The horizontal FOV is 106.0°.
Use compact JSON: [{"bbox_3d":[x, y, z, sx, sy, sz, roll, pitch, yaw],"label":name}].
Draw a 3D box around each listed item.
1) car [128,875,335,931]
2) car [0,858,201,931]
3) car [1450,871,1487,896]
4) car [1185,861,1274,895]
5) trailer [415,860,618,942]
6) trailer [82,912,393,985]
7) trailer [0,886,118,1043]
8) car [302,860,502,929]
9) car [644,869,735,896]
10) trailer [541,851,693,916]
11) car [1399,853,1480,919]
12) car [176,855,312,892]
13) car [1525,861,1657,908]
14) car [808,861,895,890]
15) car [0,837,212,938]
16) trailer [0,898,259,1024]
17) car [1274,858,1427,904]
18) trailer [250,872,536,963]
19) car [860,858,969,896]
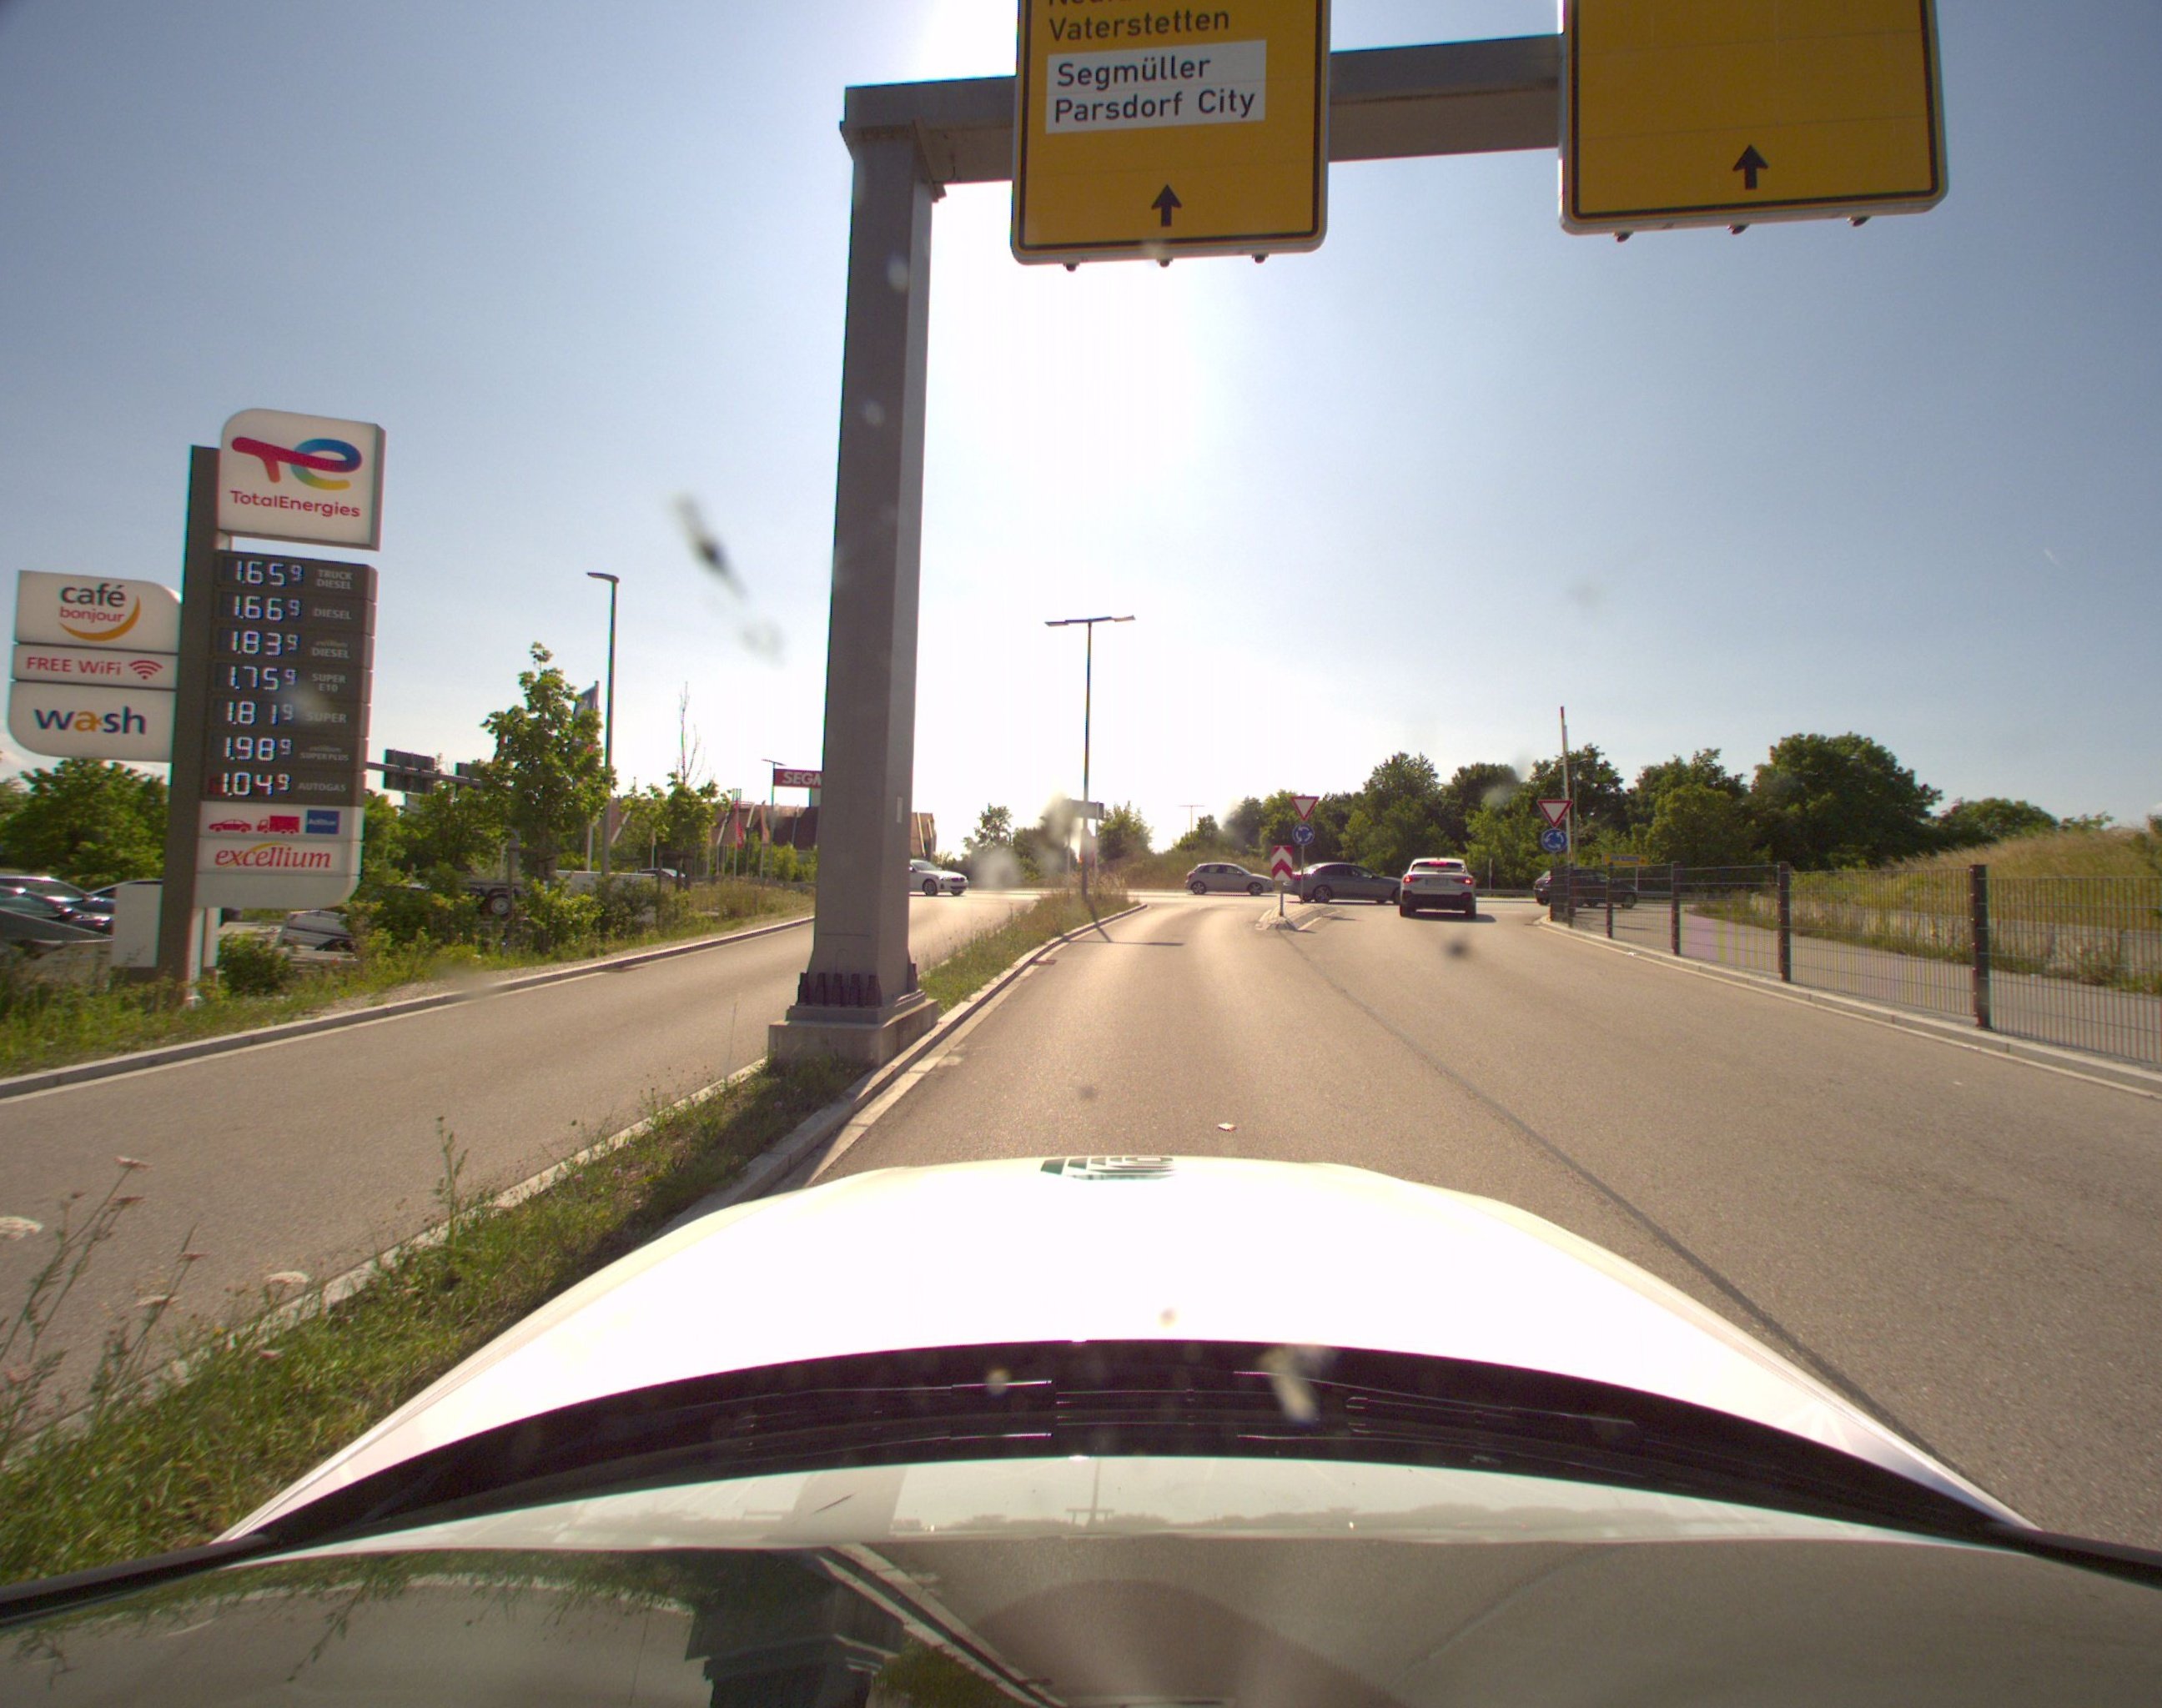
[{"bbox_3d":[-25.350,1.475,24.425,1.802,1.464,4.024,1,-3,37],"label":"car"},{"bbox_3d":[-22.583,0.849,18.016,1.813,1.464,4.001,-1,-1,1],"label":"car"},{"bbox_3d":[23.473,1.762,49.456,1.608,1.405,3.835,1,-1,19],"label":"car"},{"bbox_3d":[6.633,1.044,36.302,3.728,1.352,1.538,1,-1,17],"label":"car"},{"bbox_3d":[-13.185,1.091,19.324,3.706,1.772,1.791,2,-1,-29],"label":"trailer"},{"bbox_3d":[-12.763,1.390,12.594,2.843,0.882,1.850,2,-1,-27],"label":"trailer"},{"bbox_3d":[-12.258,1.071,8.023,3.186,1.484,1.540,2,-1,-16],"label":"trailer"},{"bbox_3d":[-17.048,0.963,20.727,1.731,1.552,3.747,2,-1,4],"label":"car"},{"bbox_3d":[-22.655,1.659,47.204,4.383,1.405,1.793,2,-1,3],"label":"car"},{"bbox_3d":[-13.404,0.801,23.721,3.706,1.772,1.791,0,0,-29],"label":"trailer"},{"bbox_3d":[9.689,0.820,22.199,1.825,1.596,4.347,0,-1,22],"label":"car"},{"bbox_3d":[-55.077,1.288,53.699,6.245,2.234,2.035,2,-1,-6],"label":"car"},{"bbox_3d":[19.581,1.158,31.389,3.933,1.618,1.819,2,-1,2],"label":"car"},{"bbox_3d":[-12.721,1.166,45.280,4.247,1.530,1.797,1,-1,10],"label":"car"},{"bbox_3d":[-16.725,0.473,12.412,1.788,1.483,4.505,2,-1,6],"label":"car"},{"bbox_3d":[-12.183,1.250,9.787,2.903,1.322,1.385,2,-1,-10],"label":"trailer"},{"bbox_3d":[9.635,0.961,29.368,4.846,1.452,1.998,2,-1,-3],"label":"car"},{"bbox_3d":[-12.621,1.196,15.285,3.706,1.452,1.692,5,-3,-29],"label":"trailer"},{"bbox_3d":[-6.794,0.917,33.153,4.286,1.352,1.582,1,-1,28],"label":"car"}]
